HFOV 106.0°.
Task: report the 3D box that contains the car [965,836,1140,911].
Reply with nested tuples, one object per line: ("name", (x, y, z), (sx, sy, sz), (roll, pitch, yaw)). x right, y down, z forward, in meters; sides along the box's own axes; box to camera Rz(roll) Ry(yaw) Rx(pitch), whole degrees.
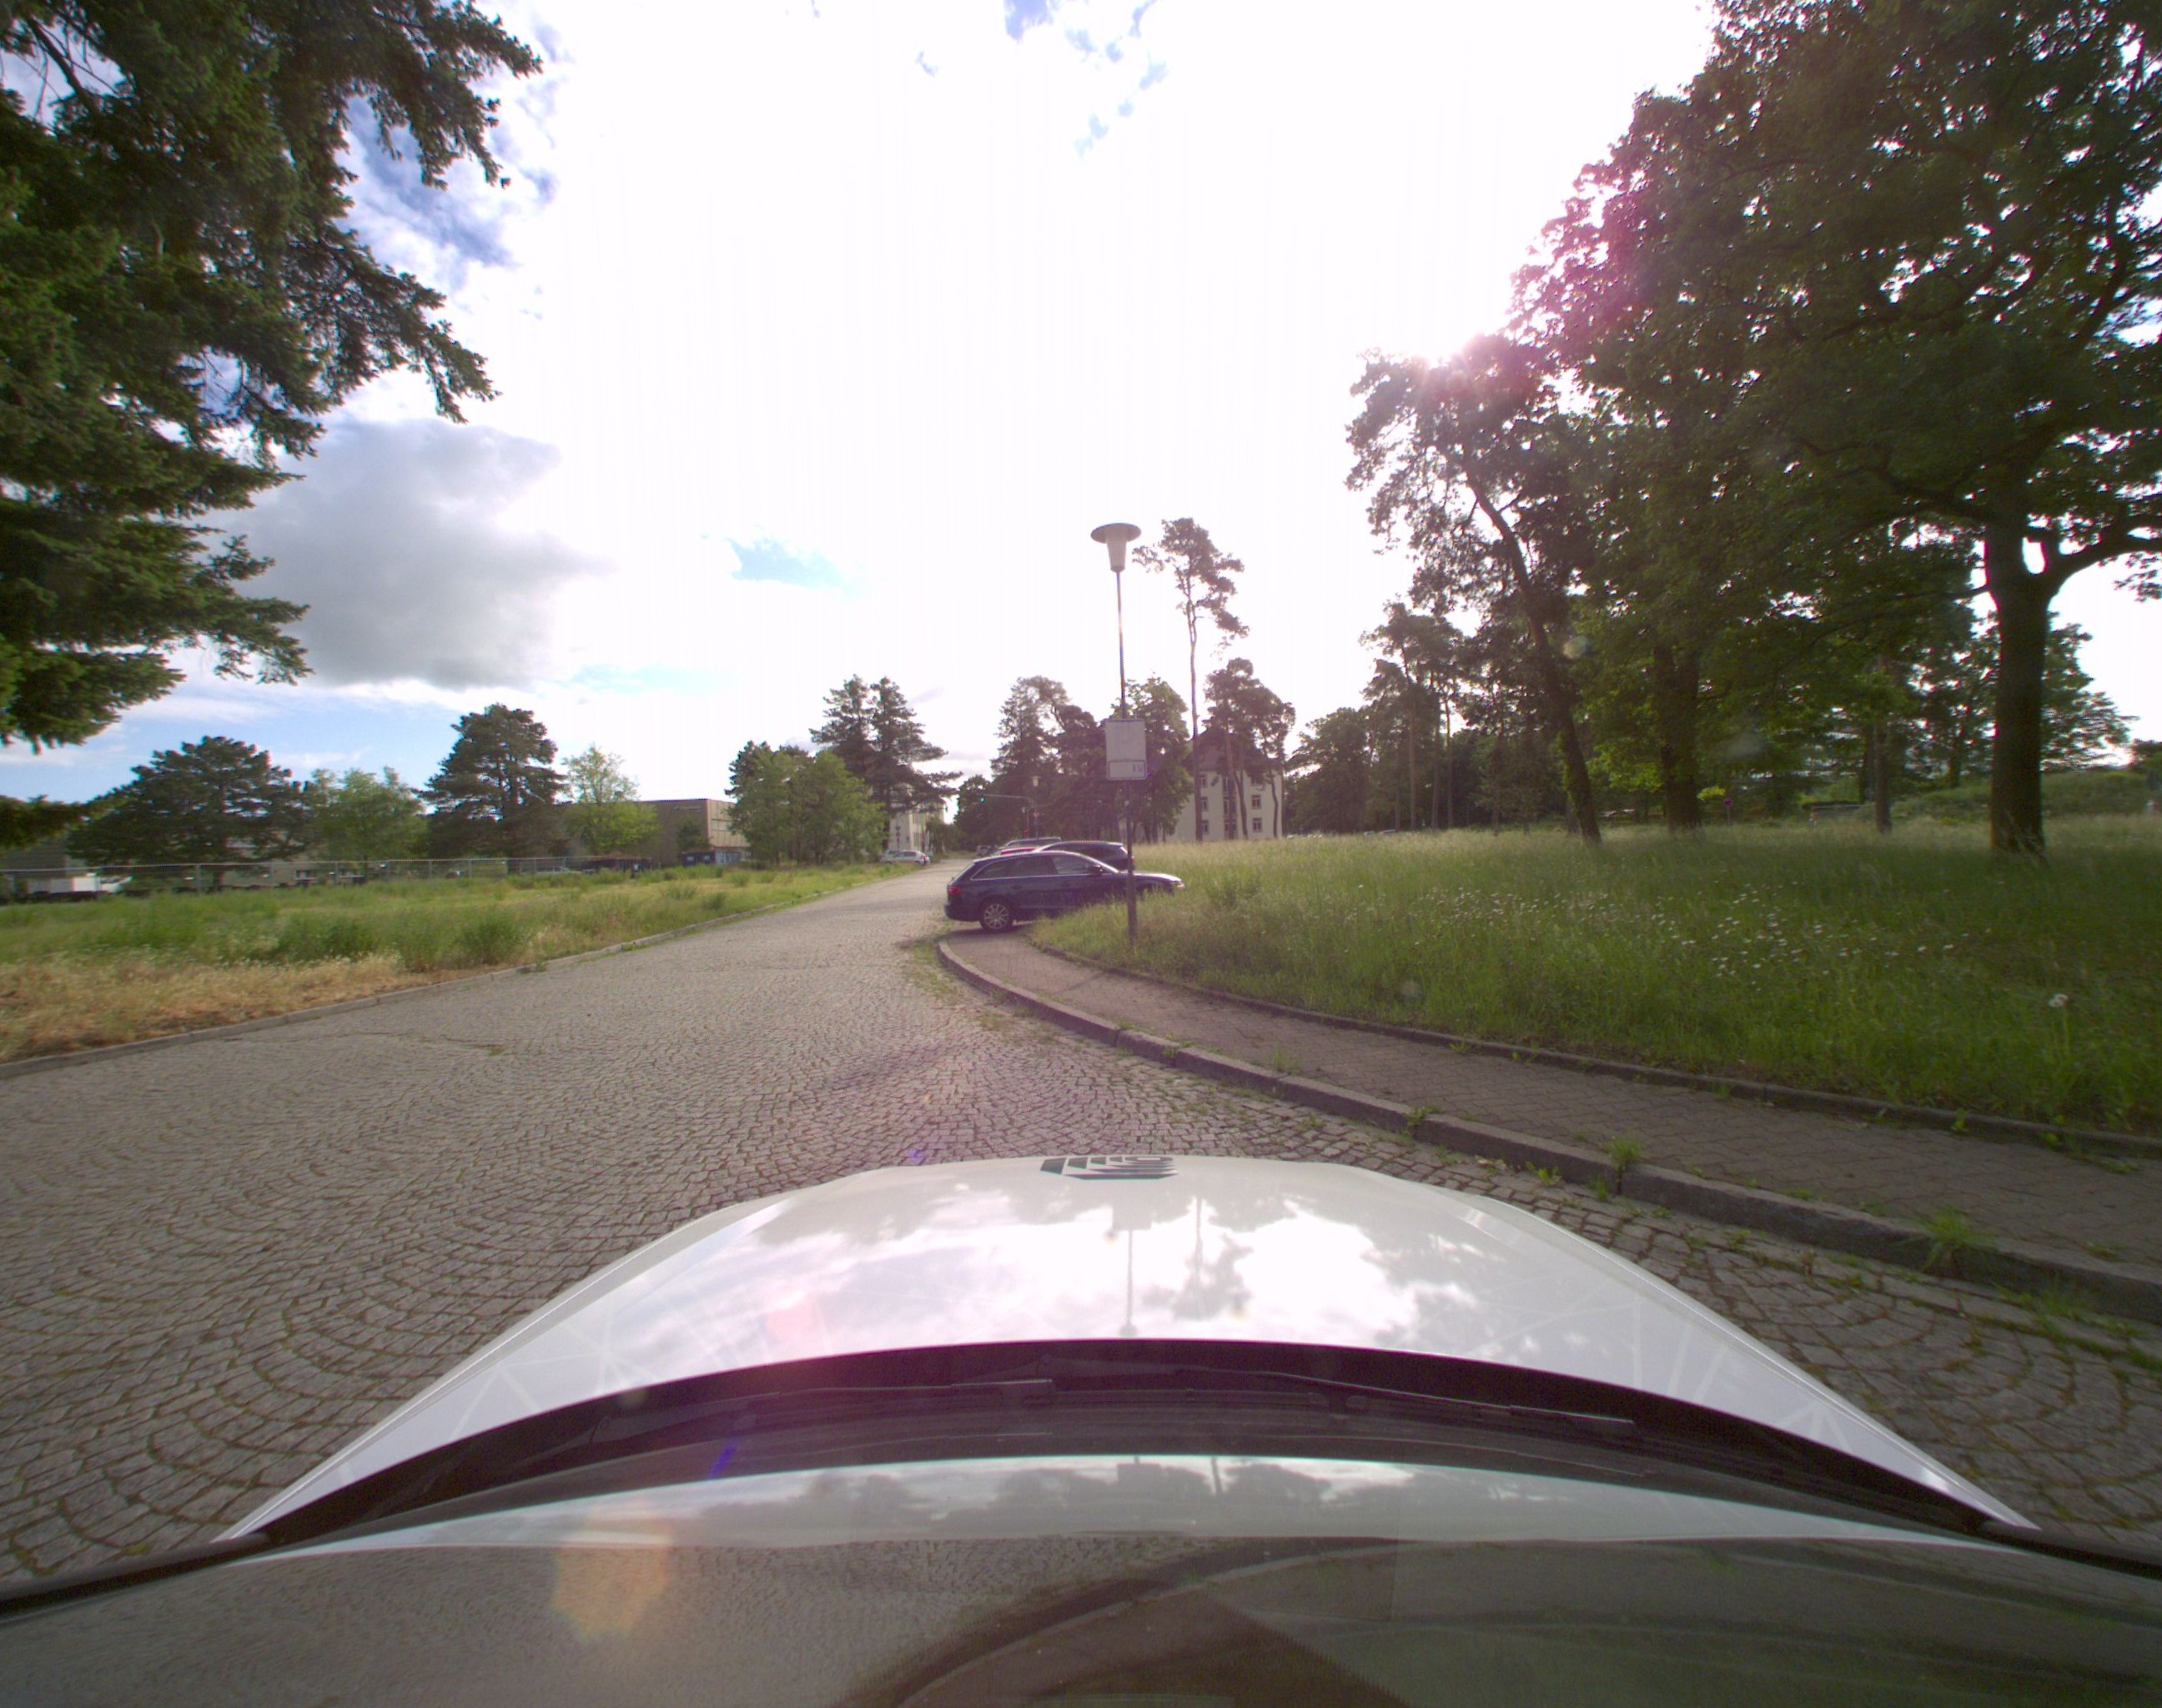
("car", (-0.745, 0.445, 20.459), (4.134, 1.573, 1.786), (-3, 2, -7))

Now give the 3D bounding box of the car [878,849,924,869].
("car", (-15.748, 0.449, 71.431), (3.719, 1.437, 1.621), (-5, 2, -10))

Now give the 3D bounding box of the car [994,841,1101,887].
("car", (-1.298, 0.358, 30.819), (3.879, 1.478, 1.668), (-4, 1, -6))

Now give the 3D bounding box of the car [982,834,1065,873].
("car", (-3.572, -0.068, 49.838), (4.817, 1.865, 2.156), (-5, 2, -8))

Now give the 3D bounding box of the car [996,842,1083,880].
("car", (-1.979, 0.317, 38.596), (3.935, 1.520, 1.704), (-3, 0, -6))

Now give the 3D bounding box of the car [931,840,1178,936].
("car", (-0.484, 0.607, 15.633), (4.420, 1.479, 1.681), (-3, 1, -2))

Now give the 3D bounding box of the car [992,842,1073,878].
("car", (-2.495, 0.290, 41.148), (3.904, 1.603, 1.816), (-2, 0, -8))

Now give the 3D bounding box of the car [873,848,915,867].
("car", (-17.567, 0.341, 76.537), (3.724, 1.437, 1.619), (-5, 2, -13))

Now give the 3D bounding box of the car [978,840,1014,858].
("car", (-14.598, -0.943, 139.779), (5.783, 2.562, 2.760), (-6, 2, -11))
